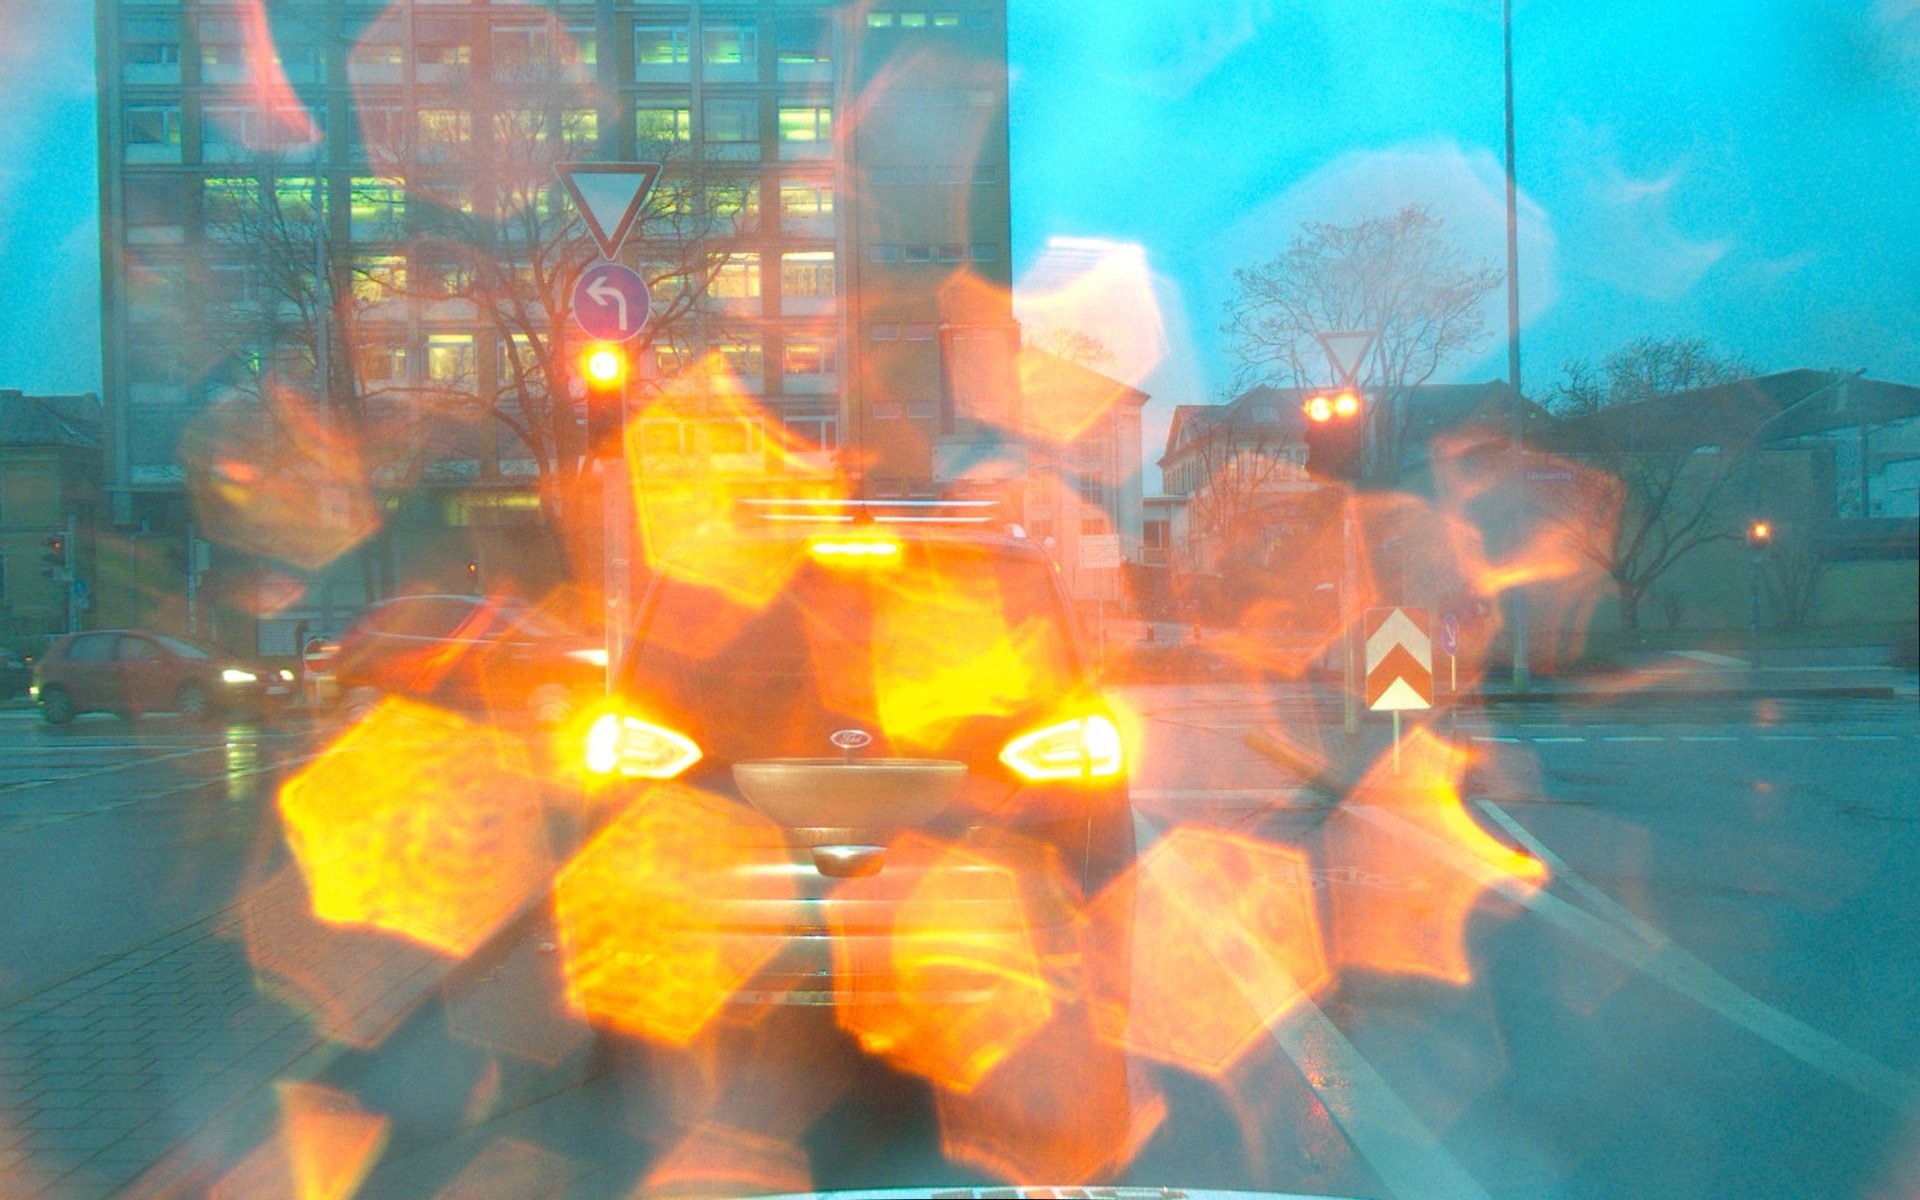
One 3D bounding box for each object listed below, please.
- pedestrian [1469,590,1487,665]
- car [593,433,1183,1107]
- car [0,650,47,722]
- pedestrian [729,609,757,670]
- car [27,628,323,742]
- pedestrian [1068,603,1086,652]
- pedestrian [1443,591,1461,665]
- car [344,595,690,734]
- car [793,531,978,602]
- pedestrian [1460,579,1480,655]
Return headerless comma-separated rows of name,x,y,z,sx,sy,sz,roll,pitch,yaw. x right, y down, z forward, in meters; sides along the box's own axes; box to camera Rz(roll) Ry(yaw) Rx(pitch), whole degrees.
pedestrian,13.069,0.697,41.747,0.428,1.871,0.460,0,-2,18
car,-0.225,0.456,6.558,1.613,1.850,3.999,0,0,-1
car,-23.670,1.959,38.125,4.338,1.608,1.969,0,-2,12
pedestrian,-6.100,1.120,46.483,0.632,1.695,0.563,0,-2,7
car,-12.478,1.316,26.383,3.983,1.713,1.761,0,-2,12
pedestrian,3.128,0.741,44.332,0.423,1.292,0.442,0,-2,11
pedestrian,12.518,0.713,42.079,0.428,1.871,0.460,0,-2,17
car,-5.729,0.815,21.590,3.978,1.713,1.761,0,-2,11
car,-2.247,-1.013,50.814,5.429,2.060,2.001,0,-2,5
pedestrian,12.635,0.432,41.001,0.448,1.871,0.439,0,-2,16
